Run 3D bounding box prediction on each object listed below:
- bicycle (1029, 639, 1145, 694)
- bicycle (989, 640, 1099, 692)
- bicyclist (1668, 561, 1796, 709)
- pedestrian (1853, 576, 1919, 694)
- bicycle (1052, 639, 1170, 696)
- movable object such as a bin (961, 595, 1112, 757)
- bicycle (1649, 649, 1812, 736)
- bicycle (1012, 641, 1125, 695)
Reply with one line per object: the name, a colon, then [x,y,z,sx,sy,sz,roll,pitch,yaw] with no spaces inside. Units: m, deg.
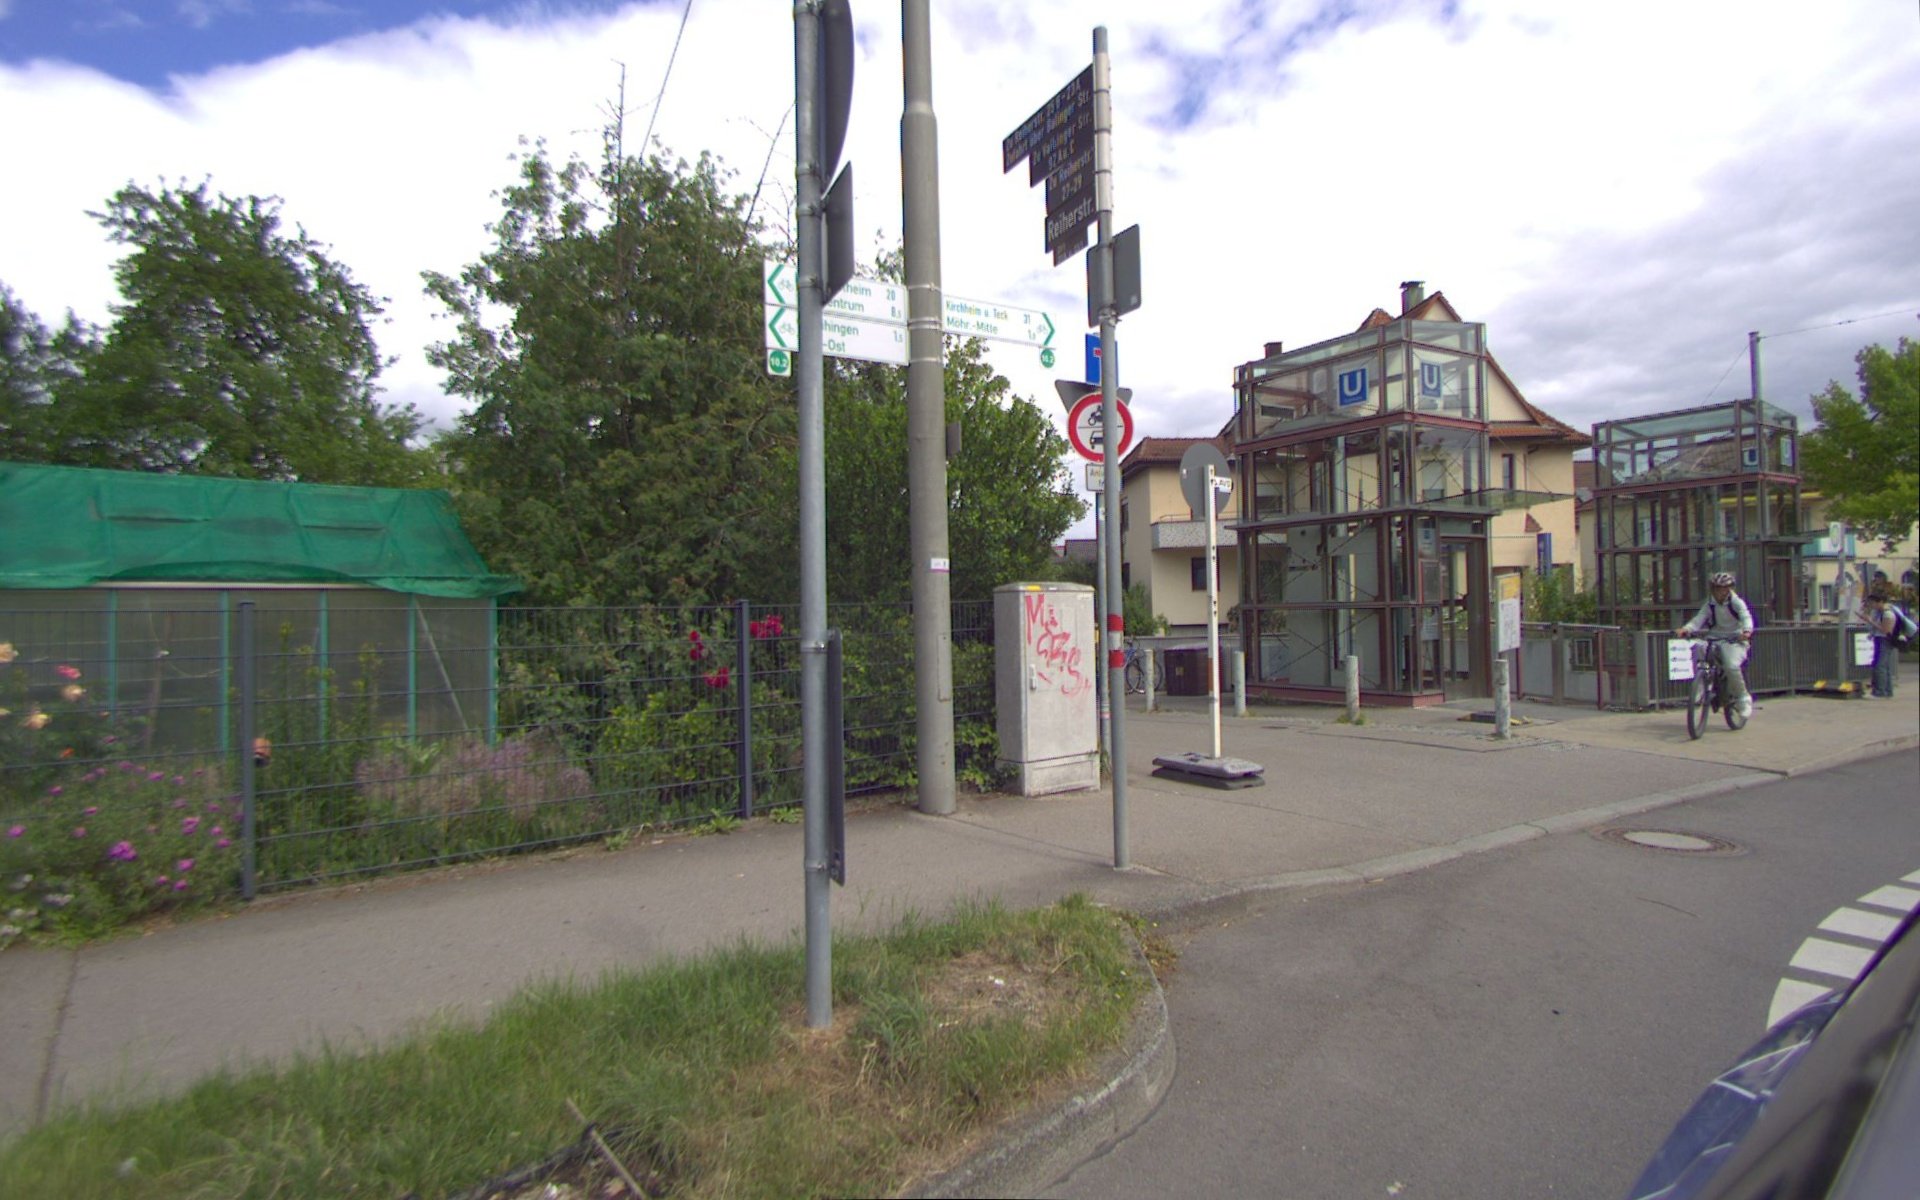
bicycle: [2.534,1.292,20.033,2.421,0.993,0.569,0,-2,-31]
bicycle: [1.794,1.363,21.309,2.421,0.993,0.569,0,-2,-31]
bicyclist: [7.925,0.348,10.388,1.155,1.434,0.658,1,-2,-32]
pedestrian: [13.170,0.501,14.265,0.394,1.604,0.599,-2,-6,-32]
bicycle: [2.920,1.270,19.459,2.421,0.993,0.569,0,-2,-31]
movable object such as a bin: [0.735,0.714,10.132,0.984,1.489,1.274,0,-2,-25]
bicycle: [7.916,0.914,10.370,2.021,0.763,0.638,1,-2,-32]
bicycle: [2.229,1.363,20.631,2.421,0.993,0.569,0,-2,-31]
